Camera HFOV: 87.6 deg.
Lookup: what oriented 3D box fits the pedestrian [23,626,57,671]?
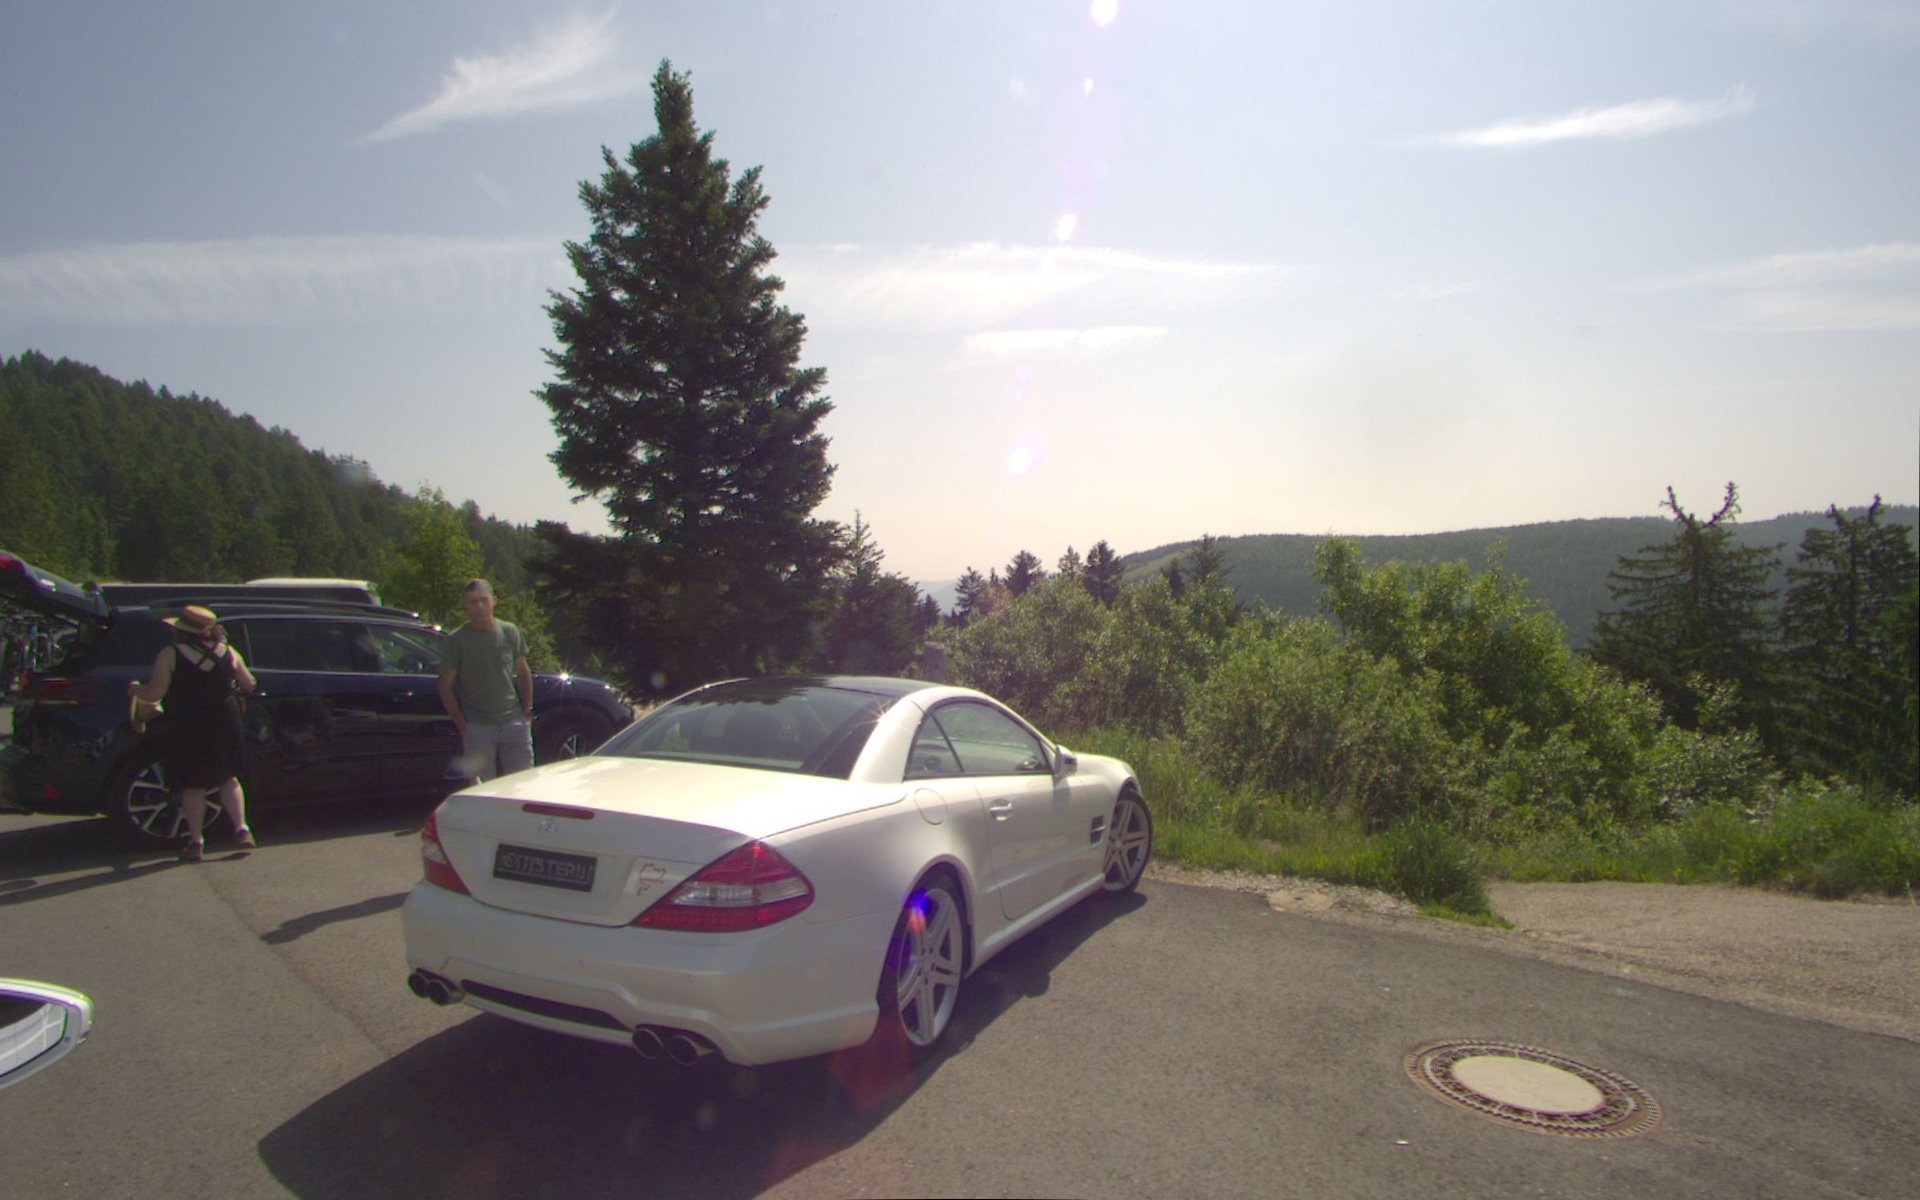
[{"bbox_3d":[-34.151,1.796,37.186,0.763,1.606,0.767,-2,1,-35],"label":"pedestrian"}]

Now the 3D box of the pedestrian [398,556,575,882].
[{"bbox_3d":[-2.897,0.686,6.144,0.727,1.823,0.743,-2,-2,39],"label":"pedestrian"}]

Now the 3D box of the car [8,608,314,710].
[{"bbox_3d":[-14.563,0.992,18.465,4.211,1.574,1.822,-1,0,-42],"label":"car"}]

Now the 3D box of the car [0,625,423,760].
[{"bbox_3d":[-9.187,1.046,12.503,1.684,1.394,4.061,-1,-3,42],"label":"car"}]

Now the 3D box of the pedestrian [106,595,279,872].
[{"bbox_3d":[-4.860,0.808,6.367,0.528,1.633,0.713,-1,-2,28],"label":"pedestrian"}]

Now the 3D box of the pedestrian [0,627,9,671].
[{"bbox_3d":[-35.218,1.791,36.410,0.763,1.606,0.767,-2,1,-35],"label":"pedestrian"}]

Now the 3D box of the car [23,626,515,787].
[{"bbox_3d":[-7.197,1.005,10.802,1.682,1.394,4.065,-1,-3,39],"label":"car"}]

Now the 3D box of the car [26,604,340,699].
[{"bbox_3d":[-16.135,0.986,21.051,4.995,1.673,2.030,-1,0,-42],"label":"car"}]

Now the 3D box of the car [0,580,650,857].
[{"bbox_3d":[-4.970,0.845,8.150,1.850,1.646,4.322,-2,-4,43],"label":"car"}]

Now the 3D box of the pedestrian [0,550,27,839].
[{"bbox_3d":[-6.590,0.611,6.313,0.723,1.896,0.757,2,1,-11],"label":"pedestrian"}]

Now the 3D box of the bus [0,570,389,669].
[{"bbox_3d":[-31.141,0.648,41.388,12.950,3.579,3.027,-1,0,-32],"label":"bus"}]

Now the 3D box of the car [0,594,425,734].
[{"bbox_3d":[-10.798,0.806,14.690,4.908,1.718,1.929,-1,0,-39],"label":"car"}]

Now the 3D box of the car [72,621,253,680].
[{"bbox_3d":[-22.949,1.404,28.922,3.956,1.468,1.845,-1,0,-42],"label":"car"}]

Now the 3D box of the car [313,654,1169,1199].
[{"bbox_3d":[-0.377,0.954,4.880,1.727,1.312,4.400,1,-2,26],"label":"car"}]
